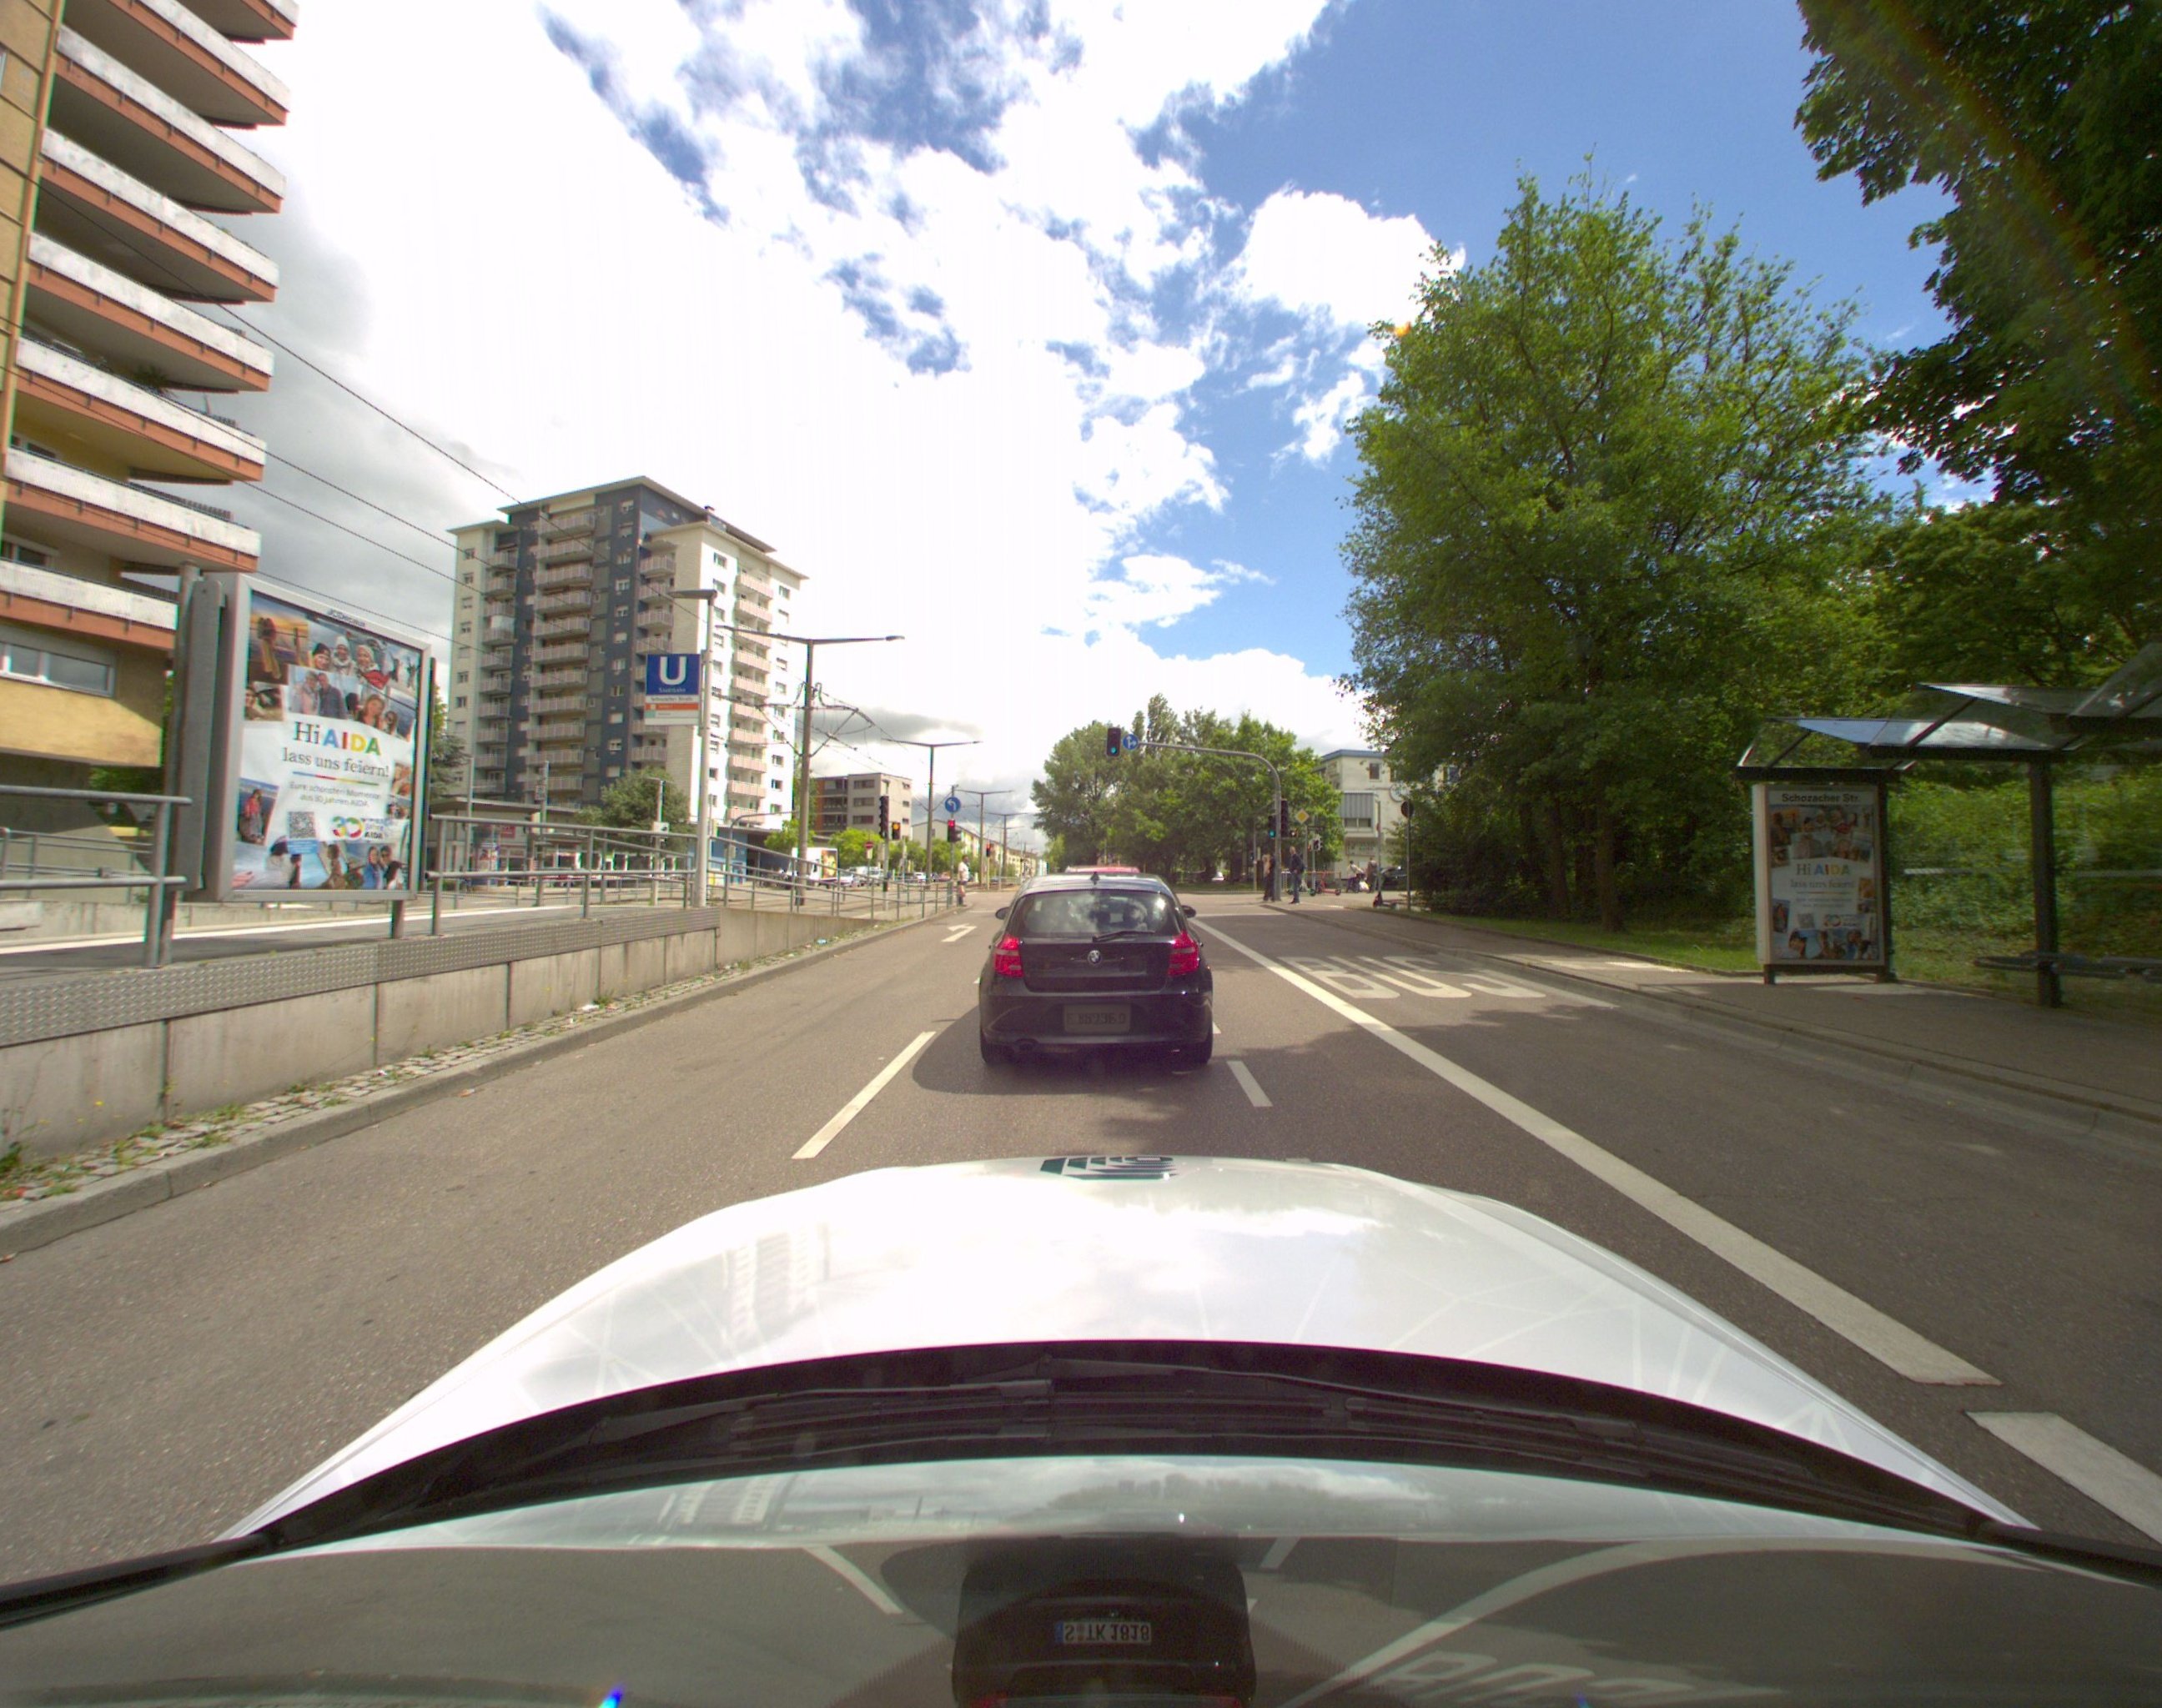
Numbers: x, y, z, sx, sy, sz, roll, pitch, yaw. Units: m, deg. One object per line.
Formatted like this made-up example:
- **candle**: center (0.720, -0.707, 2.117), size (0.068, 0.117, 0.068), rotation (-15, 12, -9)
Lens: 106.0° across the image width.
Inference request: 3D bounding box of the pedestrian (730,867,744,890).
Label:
- **pedestrian**: center (-31.329, 2.217, 74.131), size (0.852, 2.014, 0.851), rotation (-1, -1, 19)

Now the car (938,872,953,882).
- **car**: center (-20.522, 3.488, 123.609), size (1.646, 1.534, 3.871), rotation (0, -1, 0)

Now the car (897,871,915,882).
- **car**: center (-24.148, 3.048, 112.673), size (1.586, 1.474, 3.775), rotation (0, -1, 1)

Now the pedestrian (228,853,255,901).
- **pedestrian**: center (-35.036, 0.952, 34.006), size (0.538, 2.014, 0.560), rotation (0, -1, -8)

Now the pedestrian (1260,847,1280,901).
- **pedestrian**: center (6.640, 0.716, 28.586), size (0.632, 1.876, 0.519), rotation (0, -1, 8)

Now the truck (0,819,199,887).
- **truck**: center (-34.574, -0.021, 28.766), size (4.262, 2.290, 2.352), rotation (0, -1, 2)

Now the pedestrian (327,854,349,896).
- **pedestrian**: center (-35.180, 0.988, 38.577), size (0.603, 2.014, 0.557), rotation (0, -1, -21)

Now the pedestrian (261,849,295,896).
- **pedestrian**: center (-31.040, 0.706, 31.496), size (0.656, 1.776, 0.661), rotation (0, -1, -7)

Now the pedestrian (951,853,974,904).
- **pedestrian**: center (-4.039, 0.829, 27.885), size (0.685, 1.734, 0.687), rotation (-1, -1, -3)

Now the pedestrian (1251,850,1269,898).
- **pedestrian**: center (6.678, 0.730, 30.404), size (0.632, 1.766, 0.519), rotation (0, -1, 8)

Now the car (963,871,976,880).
- **car**: center (-19.914, 3.843, 145.532), size (1.646, 1.534, 3.871), rotation (0, -1, 0)

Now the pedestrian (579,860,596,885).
- **pedestrian**: center (-39.634, 1.472, 65.398), size (0.851, 2.014, 0.852), rotation (-1, -1, 29)

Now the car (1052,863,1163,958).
- **car**: center (0.446, 0.858, 13.752), size (1.632, 1.400, 3.421), rotation (0, -1, 2)

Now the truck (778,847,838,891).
- **truck**: center (-20.528, 1.138, 61.661), size (2.275, 3.118, 7.312), rotation (0, -1, -2)

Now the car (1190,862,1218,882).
- **car**: center (11.961, 1.754, 79.619), size (1.724, 1.871, 3.990), rotation (0, -1, -7)

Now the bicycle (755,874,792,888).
- **bicycle**: center (-24.153, 2.132, 63.984), size (2.570, 1.009, 0.749), rotation (2, -3, -27)

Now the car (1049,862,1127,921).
- **car**: center (0.244, 0.929, 22.046), size (1.893, 1.422, 4.540), rotation (0, -1, 2)

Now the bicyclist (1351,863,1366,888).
- **bicyclist**: center (12.656, 0.978, 37.152), size (0.501, 1.157, 0.398), rotation (0, -1, -10)

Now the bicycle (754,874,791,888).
- **bicycle**: center (-23.861, 2.118, 63.059), size (2.570, 1.009, 0.749), rotation (2, -3, -27)

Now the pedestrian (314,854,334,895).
- **pedestrian**: center (-37.739, 1.026, 40.590), size (0.540, 2.014, 0.558), rotation (0, -1, -19)

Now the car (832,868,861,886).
- **car**: center (-20.696, 2.018, 71.950), size (1.402, 1.461, 3.773), rotation (0, -1, 0)

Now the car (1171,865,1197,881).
- **car**: center (11.426, 2.086, 90.574), size (1.862, 1.662, 3.987), rotation (0, -1, -9)

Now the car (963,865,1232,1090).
- **car**: center (0.155, 0.802, 6.852), size (1.694, 1.400, 3.421), rotation (0, -1, 2)

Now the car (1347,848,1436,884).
- **car**: center (18.288, 0.693, 48.023), size (4.529, 2.014, 1.996), rotation (1, -1, -6)

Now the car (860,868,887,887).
- **car**: center (-20.441, 2.296, 80.347), size (1.586, 1.756, 3.775), rotation (0, -1, 1)

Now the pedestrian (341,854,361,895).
- **pedestrian**: center (-36.065, 1.011, 40.244), size (0.540, 2.014, 0.558), rotation (0, -1, -20)

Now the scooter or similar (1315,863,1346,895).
- **scooter or similar**: center (10.344, 1.030, 33.781), size (1.145, 1.272, 0.556), rotation (1, -1, 4)

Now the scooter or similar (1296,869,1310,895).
- **scooter or similar**: center (9.481, 1.180, 34.811), size (0.543, 1.064, 1.267), rotation (0, -1, 16)

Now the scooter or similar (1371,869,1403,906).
- **scooter or similar**: center (10.723, 1.168, 28.543), size (0.886, 1.230, 0.455), rotation (4, -1, 1)

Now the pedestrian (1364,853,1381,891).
- **pedestrian**: center (13.422, 0.837, 37.480), size (0.651, 1.713, 0.464), rotation (-1, -1, 28)

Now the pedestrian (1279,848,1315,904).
- **pedestrian**: center (7.271, 0.731, 27.471), size (1.006, 1.876, 0.798), rotation (0, -1, 3)

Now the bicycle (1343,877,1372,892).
- **bicycle**: center (12.630, 1.381, 37.198), size (0.533, 0.610, 1.584), rotation (2, -1, -11)

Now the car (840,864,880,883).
- **car**: center (-24.431, 2.155, 89.957), size (3.945, 1.975, 1.637), rotation (0, -1, -41)

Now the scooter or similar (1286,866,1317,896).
- **scooter or similar**: center (8.914, 1.088, 32.909), size (1.105, 1.235, 0.540), rotation (0, -1, 4)

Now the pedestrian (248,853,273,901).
- **pedestrian**: center (-35.099, 0.973, 34.842), size (0.539, 2.014, 0.559), rotation (0, -1, -16)
